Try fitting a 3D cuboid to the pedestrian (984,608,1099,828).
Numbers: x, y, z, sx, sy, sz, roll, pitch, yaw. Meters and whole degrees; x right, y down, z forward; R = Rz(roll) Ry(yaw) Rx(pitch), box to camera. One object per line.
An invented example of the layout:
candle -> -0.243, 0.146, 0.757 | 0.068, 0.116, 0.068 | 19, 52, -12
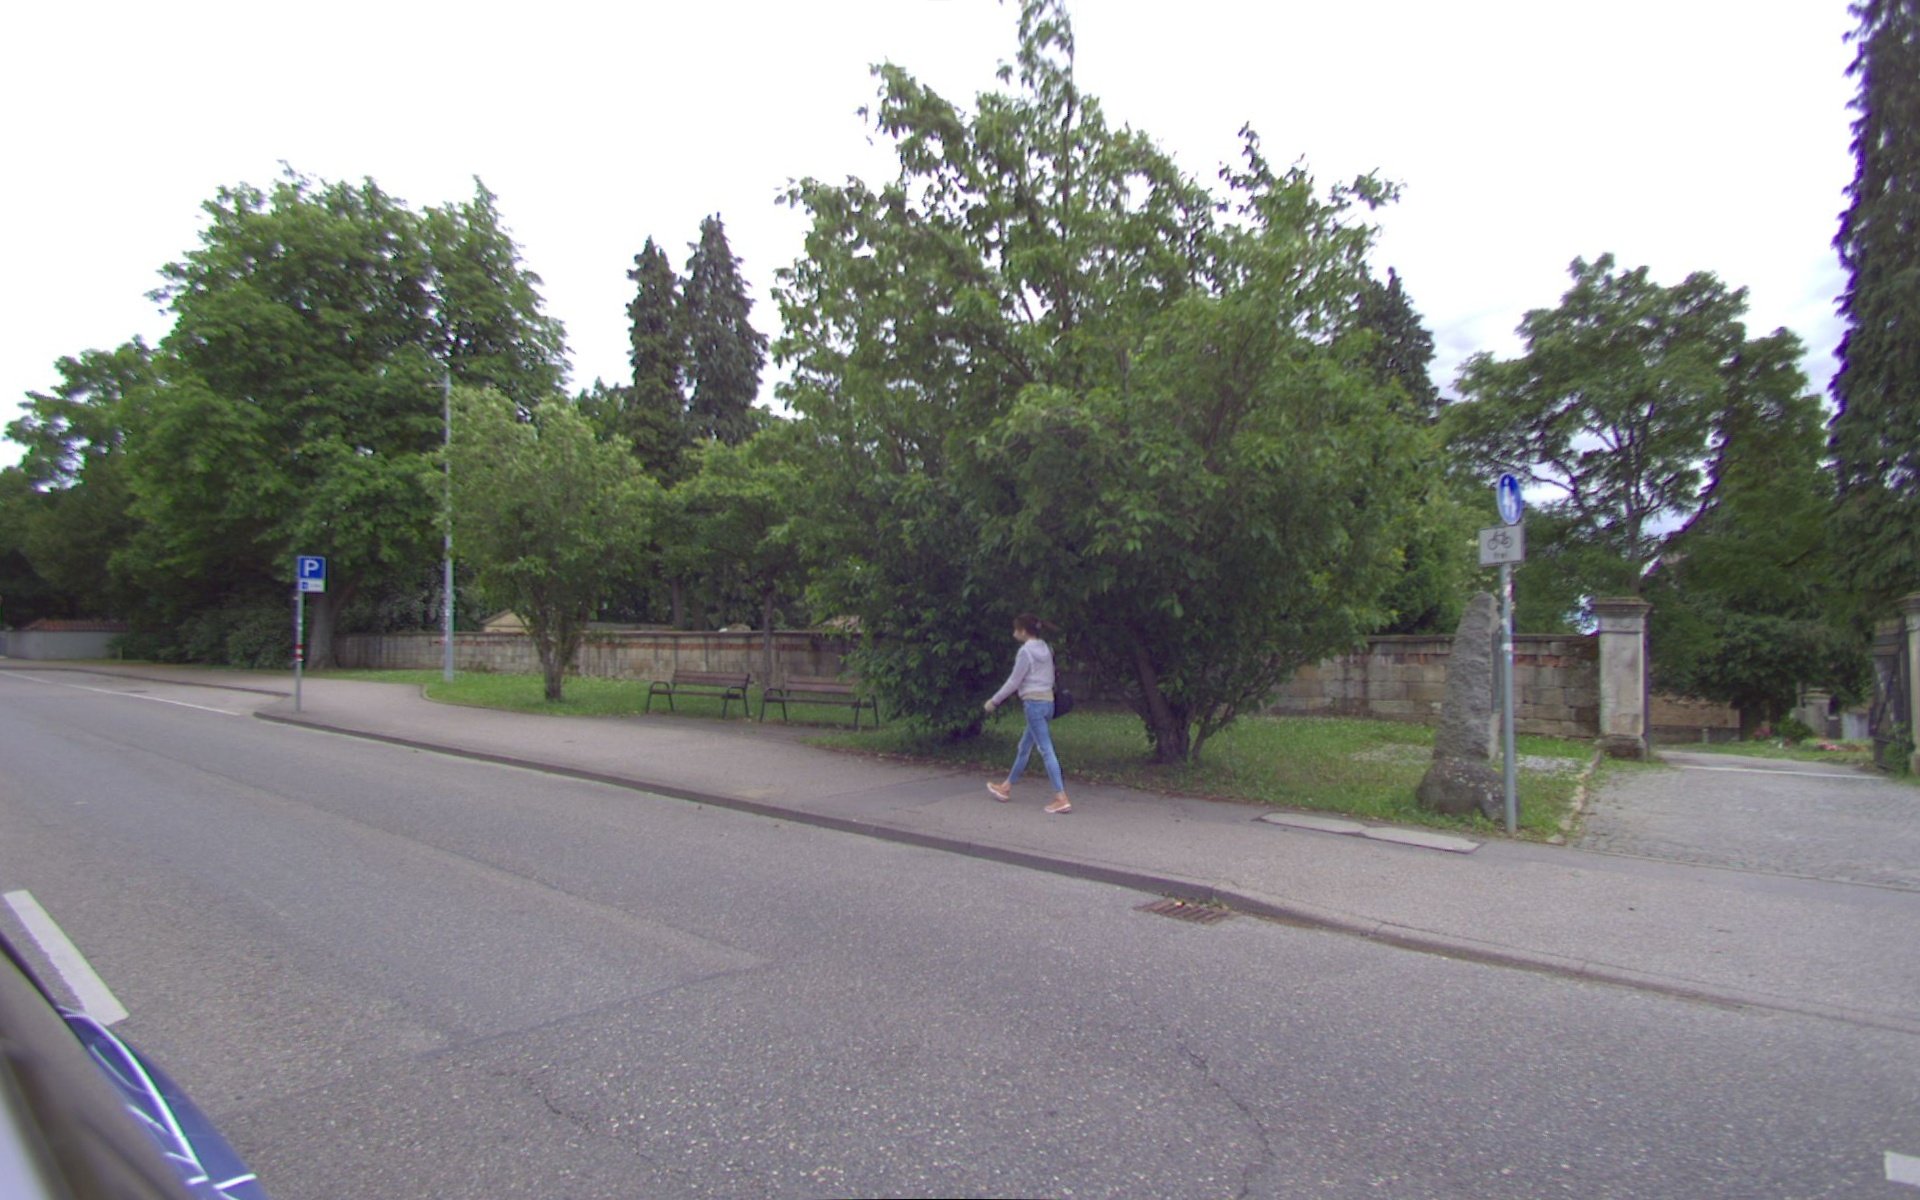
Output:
pedestrian -> 0.718, 0.990, 8.923 | 0.784, 1.825, 0.607 | -1, -1, 40
